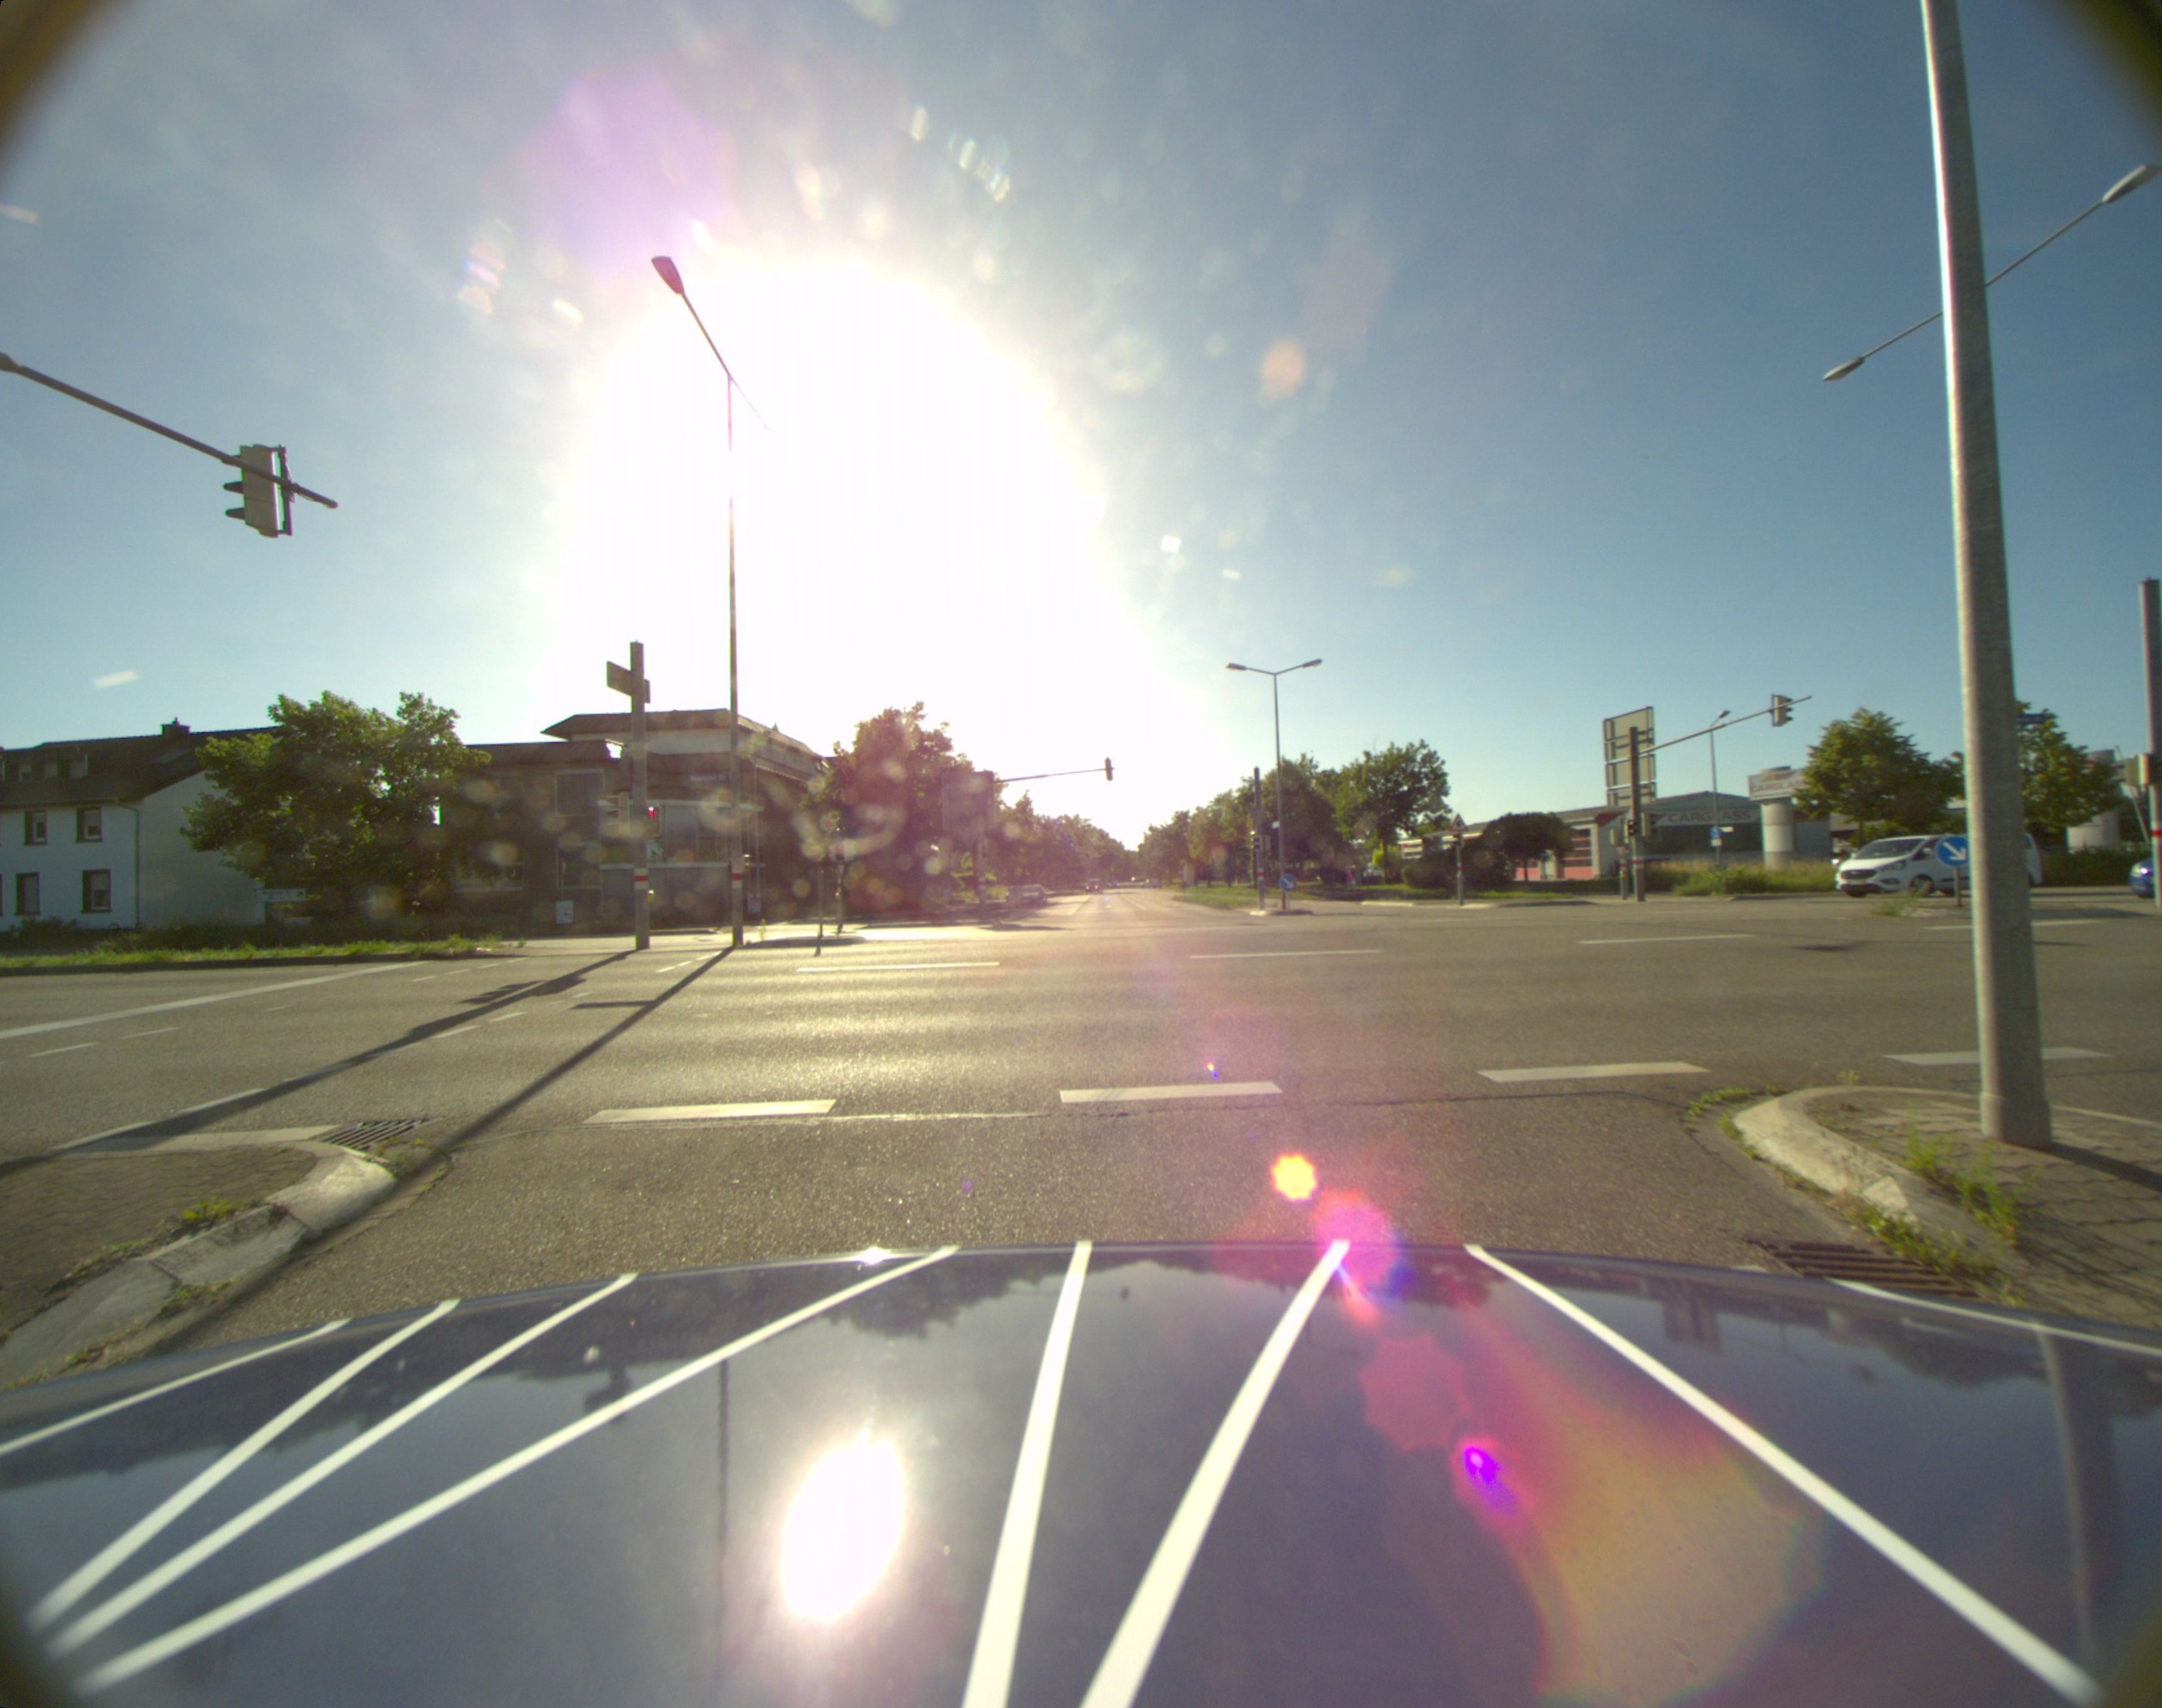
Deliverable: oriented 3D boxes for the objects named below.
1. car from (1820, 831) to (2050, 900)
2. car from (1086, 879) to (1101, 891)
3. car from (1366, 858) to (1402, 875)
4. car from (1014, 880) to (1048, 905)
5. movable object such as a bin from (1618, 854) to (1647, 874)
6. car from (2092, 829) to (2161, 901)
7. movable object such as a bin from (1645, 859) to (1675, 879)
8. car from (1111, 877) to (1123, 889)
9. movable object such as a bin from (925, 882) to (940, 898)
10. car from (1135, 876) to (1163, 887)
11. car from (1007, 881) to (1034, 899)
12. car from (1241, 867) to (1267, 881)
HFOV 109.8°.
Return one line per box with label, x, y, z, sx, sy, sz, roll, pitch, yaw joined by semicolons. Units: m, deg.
car;27.434;0.404;24.537;5.273;2.001;2.048;-1;-3;-4
car;1.625;3.966;98.398;1.776;1.477;4.217;-1;-2;3
car;42.351;1.804;106.207;4.212;2.203;1.778;-2;-2;0
car;-3.308;2.545;51.136;1.776;1.477;3.782;-3;-2;3
movable object such as a bin;35.706;0.660;49.210;1.130;1.290;0.993;-2;-1;2
car;26.473;0.201;17.473;4.038;1.633;1.893;-1;-3;-4
movable object such as a bin;37.615;0.992;49.355;1.130;1.290;0.993;-2;-1;2
car;6.499;5.280;136.920;1.730;2.001;4.000;-1;0;-2
movable object such as a bin;-13.038;3.185;66.816;1.089;1.314;0.797;-2;-1;2
car;11.302;4.554;126.326;4.489;1.695;2.002;-2;-1;7
car;-5.242;3.079;66.039;1.776;1.477;4.217;-1;-2;3
car;28.721;3.282;126.044;3.994;2.001;2.002;-4;-2;10
